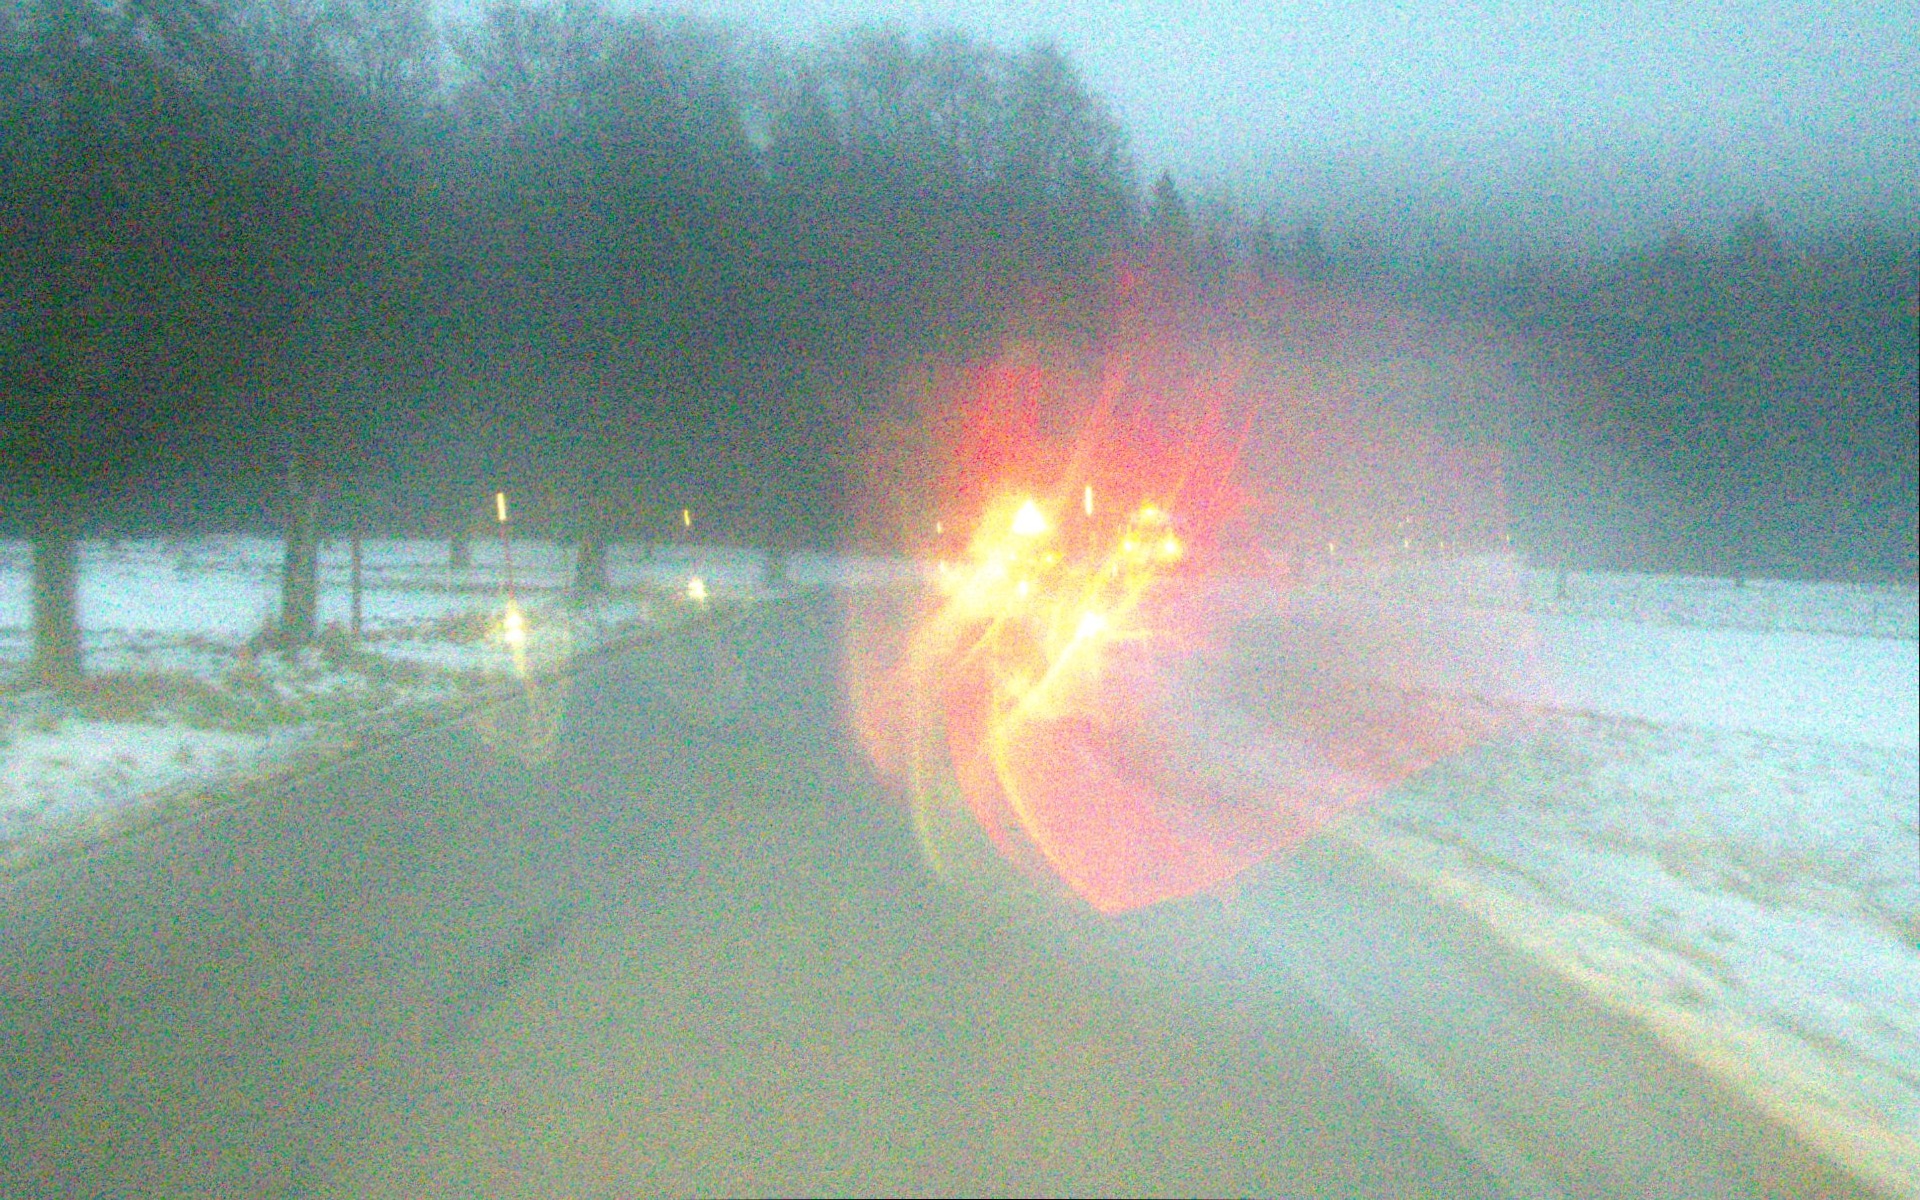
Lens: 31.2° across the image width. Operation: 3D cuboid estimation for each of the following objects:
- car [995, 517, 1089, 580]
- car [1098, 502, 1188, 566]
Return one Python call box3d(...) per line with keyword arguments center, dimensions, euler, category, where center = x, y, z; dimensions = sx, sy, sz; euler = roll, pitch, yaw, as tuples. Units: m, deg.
box3d(center=(2.906, -1.806, 120.817), dimensions=(1.996, 2.044, 3.996), euler=(5, 2, 20), category="car")
box3d(center=(7.769, -2.799, 145.599), dimensions=(2.255, 2.636, 5.000), euler=(1, 2, 22), category="car")
